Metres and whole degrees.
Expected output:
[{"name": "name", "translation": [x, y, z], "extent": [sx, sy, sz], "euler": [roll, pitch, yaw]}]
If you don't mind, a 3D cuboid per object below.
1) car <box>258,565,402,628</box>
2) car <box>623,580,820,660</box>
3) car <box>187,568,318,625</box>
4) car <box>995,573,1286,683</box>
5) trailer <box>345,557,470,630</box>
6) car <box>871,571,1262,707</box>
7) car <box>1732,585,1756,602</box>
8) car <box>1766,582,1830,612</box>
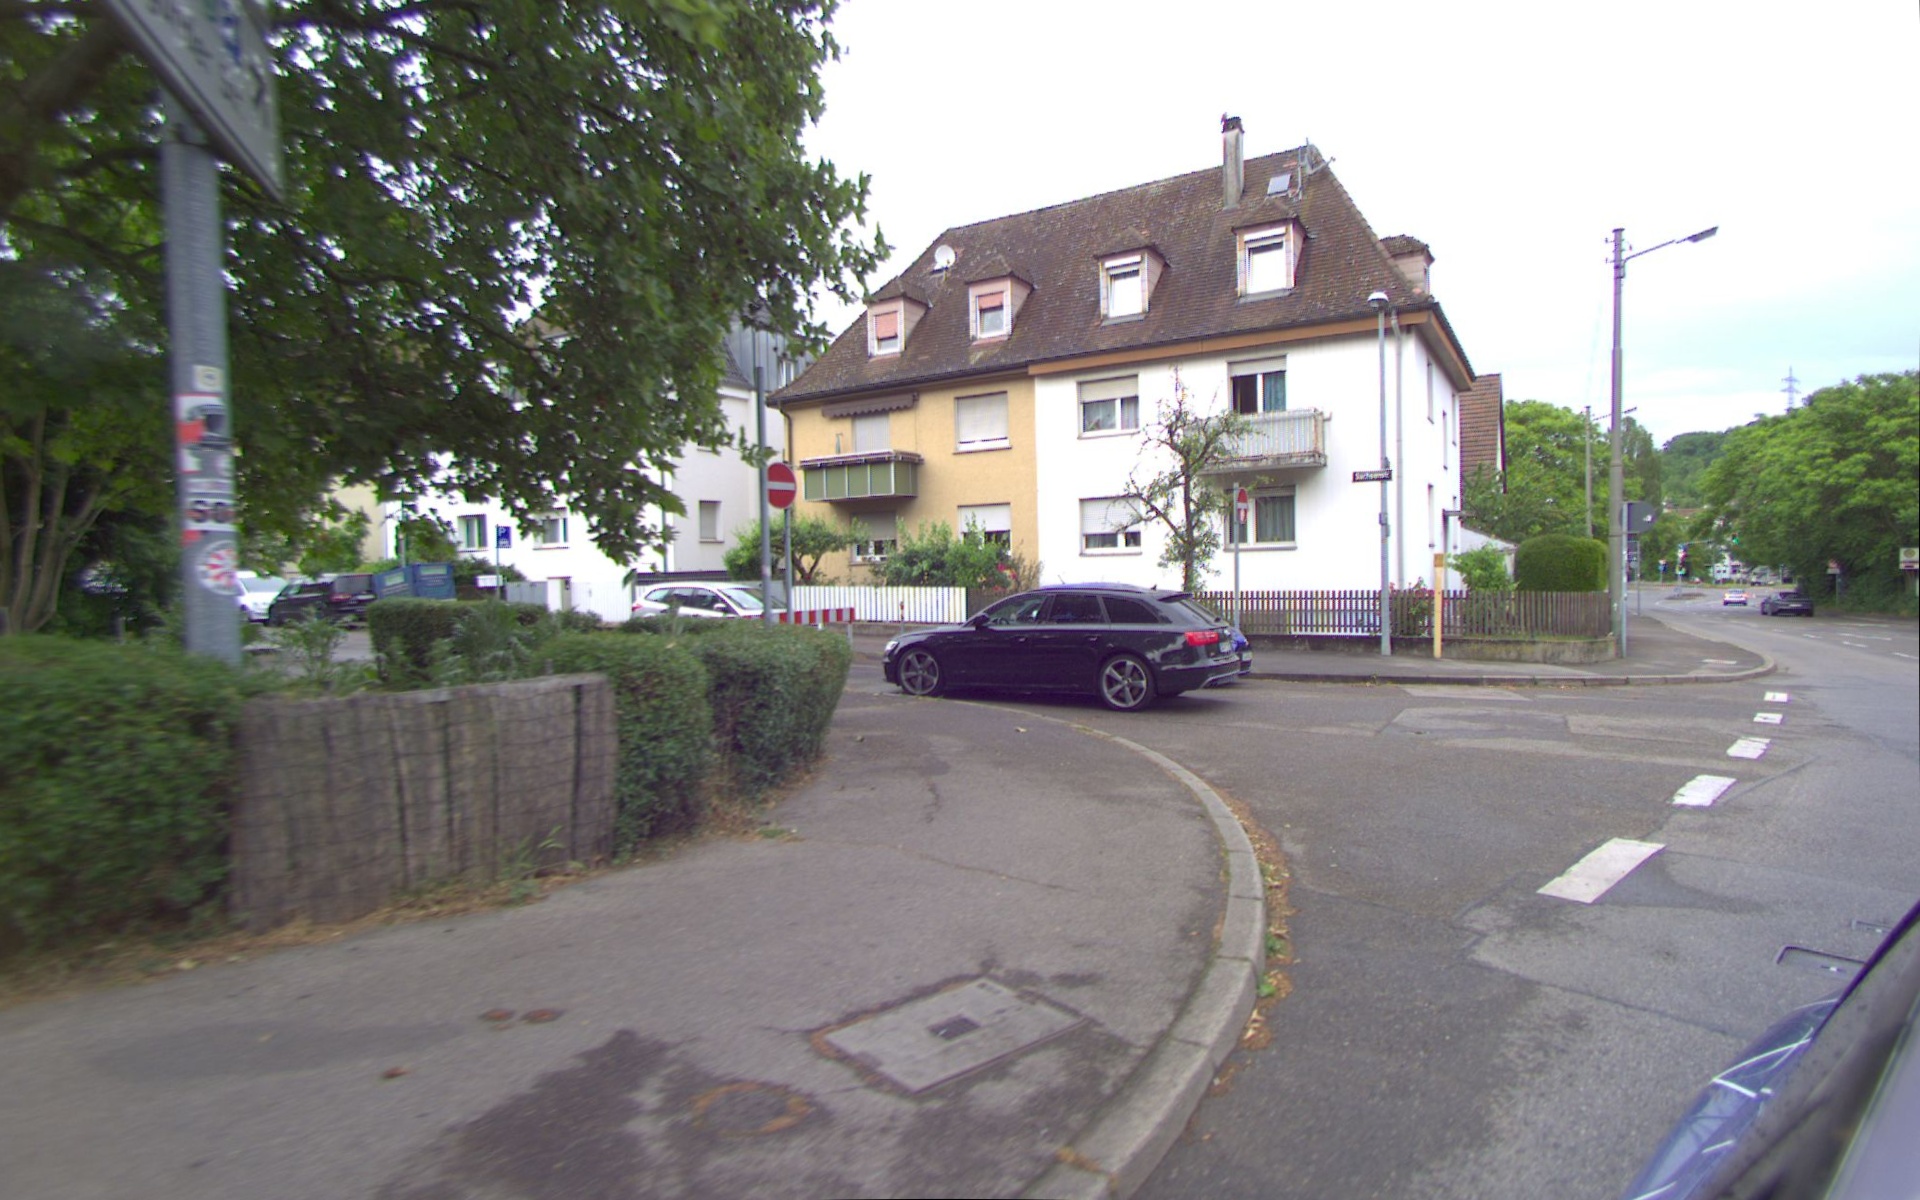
[{"name": "car", "translation": [-19.825, -0.149, 31.815], "extent": [4.540, 1.862, 1.979], "euler": [1, 1, 30]}, {"name": "car", "translation": [-4.834, 0.356, 20.410], "extent": [3.756, 1.472, 1.752], "euler": [1, 0, 32]}, {"name": "car", "translation": [-24.285, -0.155, 34.714], "extent": [4.540, 1.862, 1.979], "euler": [1, 1, 30]}, {"name": "car", "translation": [2.765, 0.345, 15.846], "extent": [4.099, 1.499, 1.863], "euler": [1, 1, 35]}, {"name": "trailer", "translation": [-16.315, -0.209, 29.863], "extent": [3.459, 2.039, 1.655], "euler": [1, 1, 29]}, {"name": "car", "translation": [1.346, 0.392, 13.299], "extent": [4.772, 1.499, 1.868], "euler": [1, 1, 28]}, {"name": "car", "translation": [69.686, -0.610, 89.935], "extent": [1.665, 1.486, 3.728], "euler": [1, 1, 38]}, {"name": "car", "translation": [48.855, -0.233, 59.095], "extent": [1.983, 1.460, 4.727], "euler": [3, 4, 29]}]
